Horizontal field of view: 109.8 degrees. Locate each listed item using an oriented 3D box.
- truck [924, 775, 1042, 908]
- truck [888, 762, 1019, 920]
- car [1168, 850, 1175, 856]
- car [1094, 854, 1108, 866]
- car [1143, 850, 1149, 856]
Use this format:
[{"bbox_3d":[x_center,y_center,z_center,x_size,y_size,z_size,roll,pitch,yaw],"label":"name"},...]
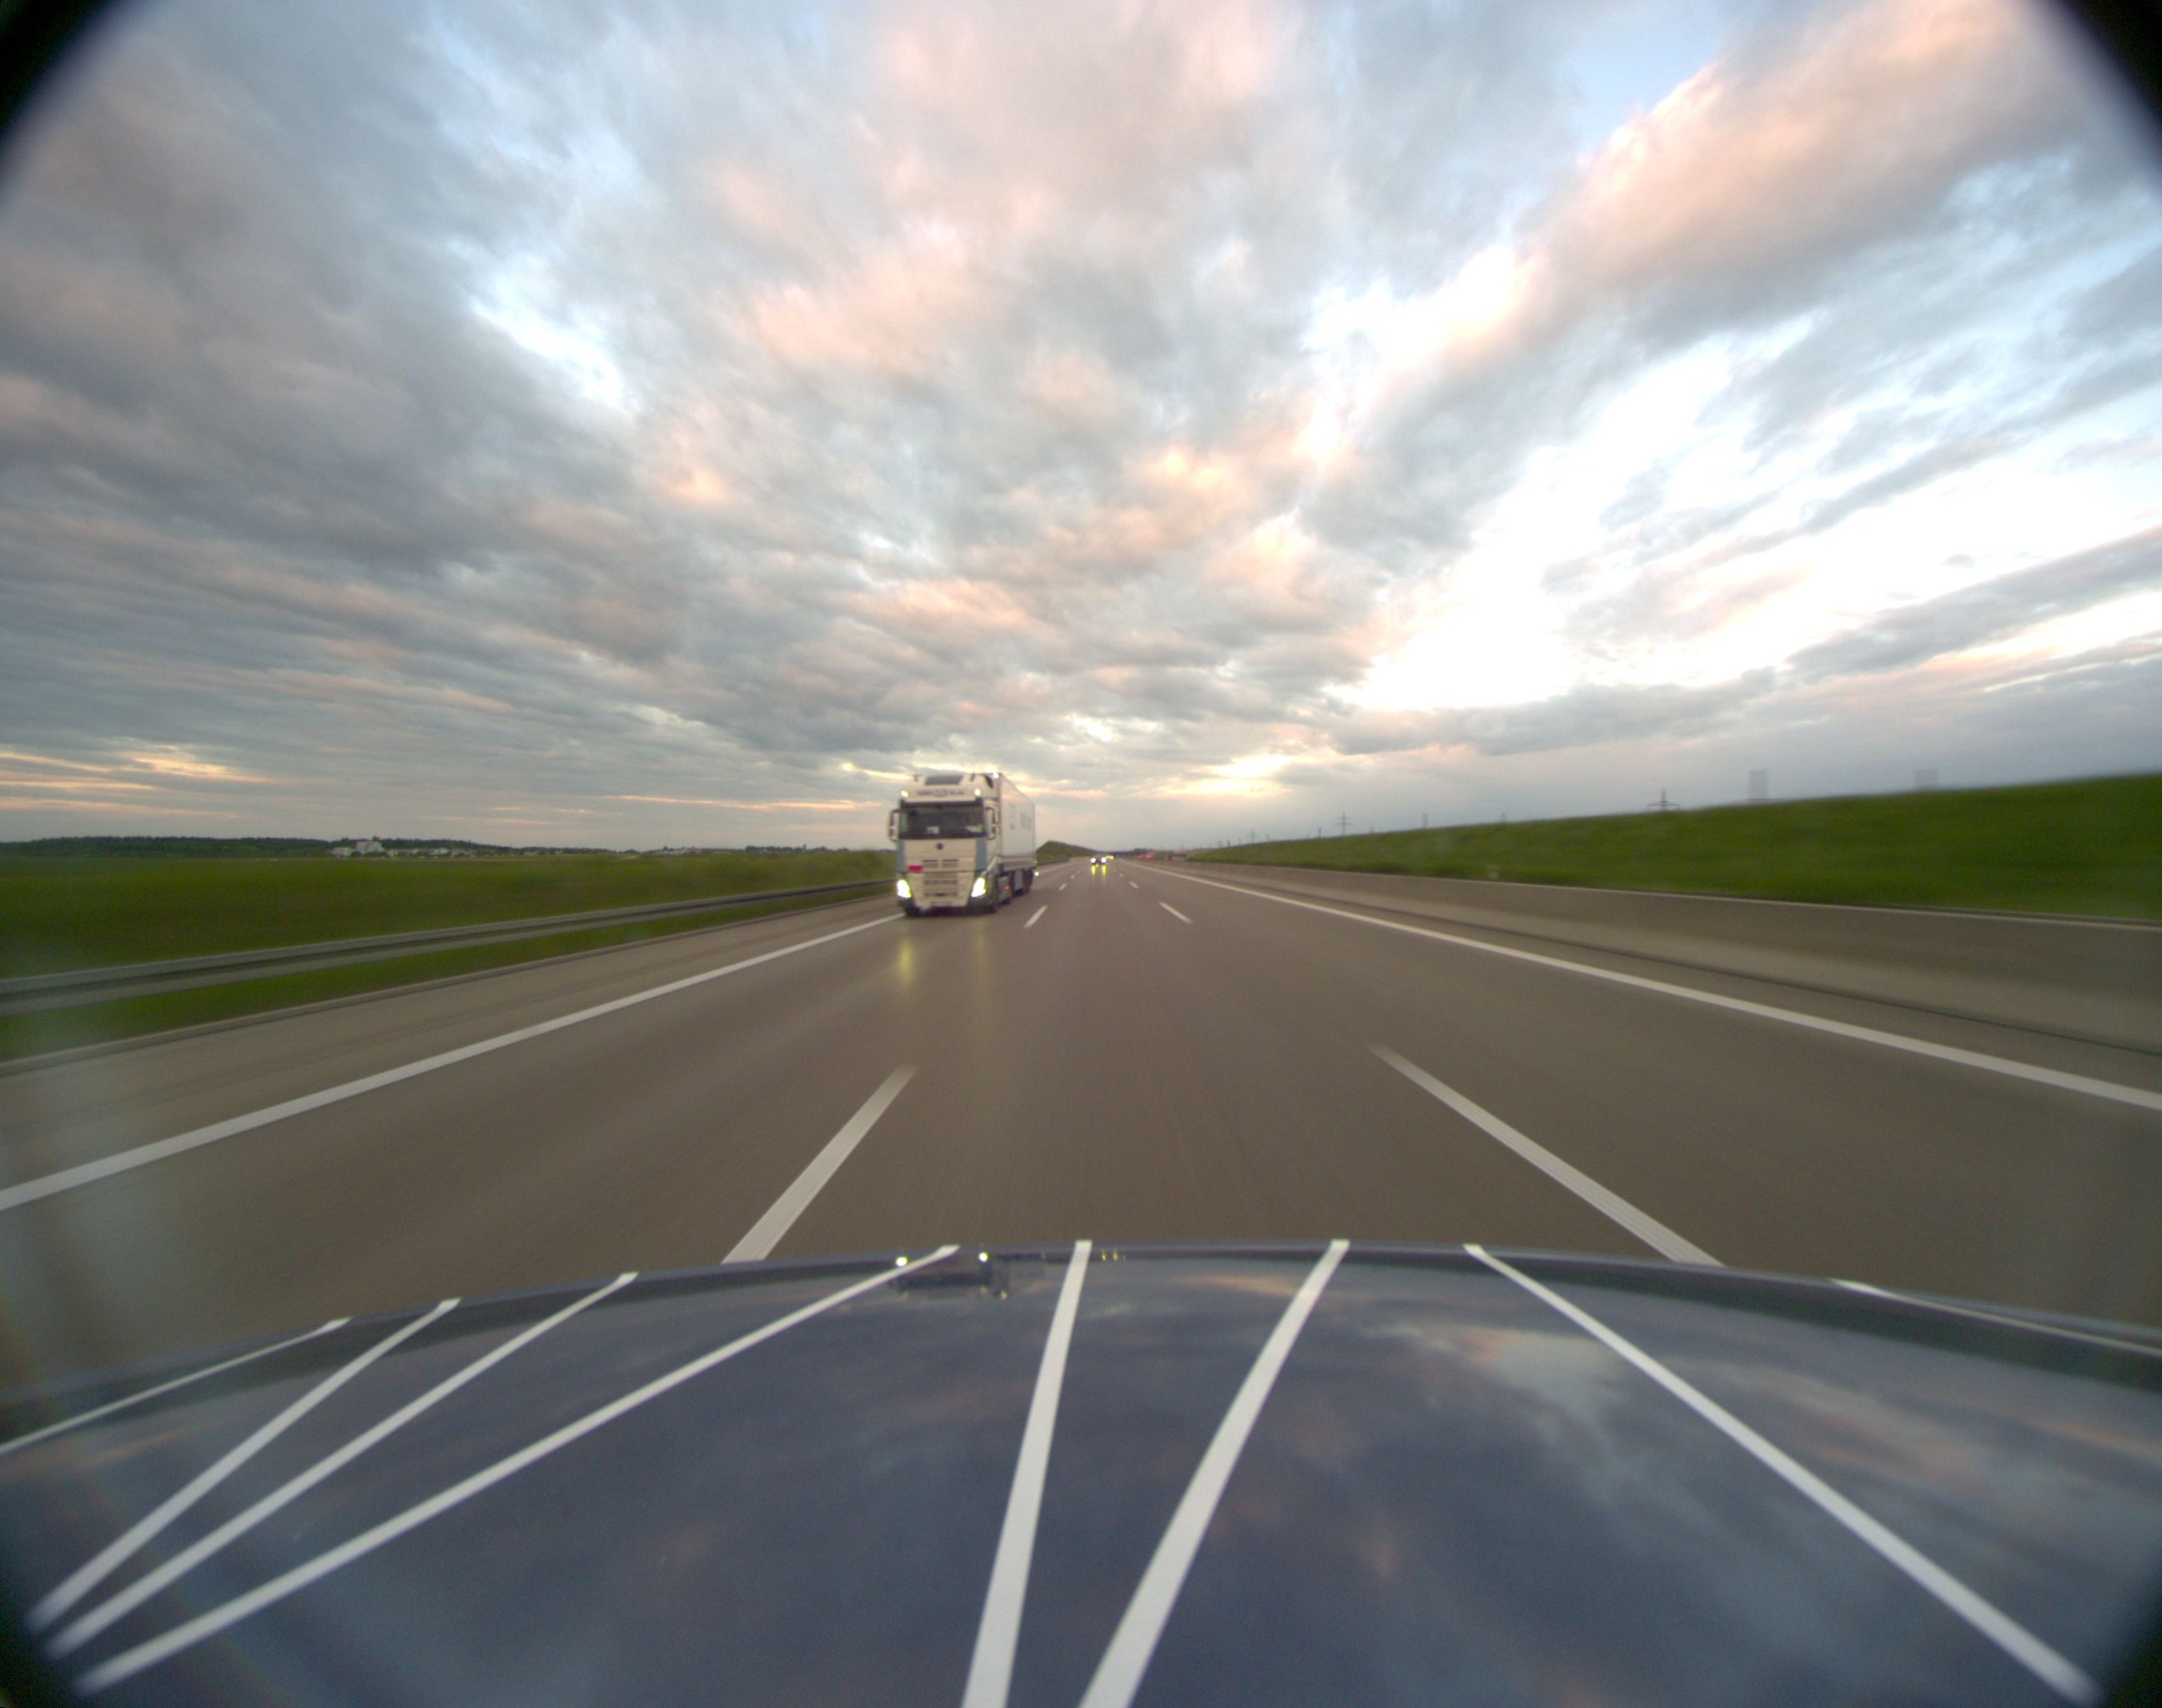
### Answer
[{"bbox_3d":[-3.317,-0.416,29.625,2.596,3.999,12.985,-1,0,1],"label":"truck"},{"bbox_3d":[-3.511,-0.338,22.446,2.596,4.000,5.859,-1,0,2],"label":"truck"},{"bbox_3d":[26.061,-0.320,219.653,1.739,1.663,3.597,-1,0,2],"label":"car"},{"bbox_3d":[2.961,0.859,112.702,1.998,1.652,4.850,-3,1,0],"label":"car"},{"bbox_3d":[18.710,-0.369,218.394,1.744,1.590,4.001,-1,0,3],"label":"car"}]
